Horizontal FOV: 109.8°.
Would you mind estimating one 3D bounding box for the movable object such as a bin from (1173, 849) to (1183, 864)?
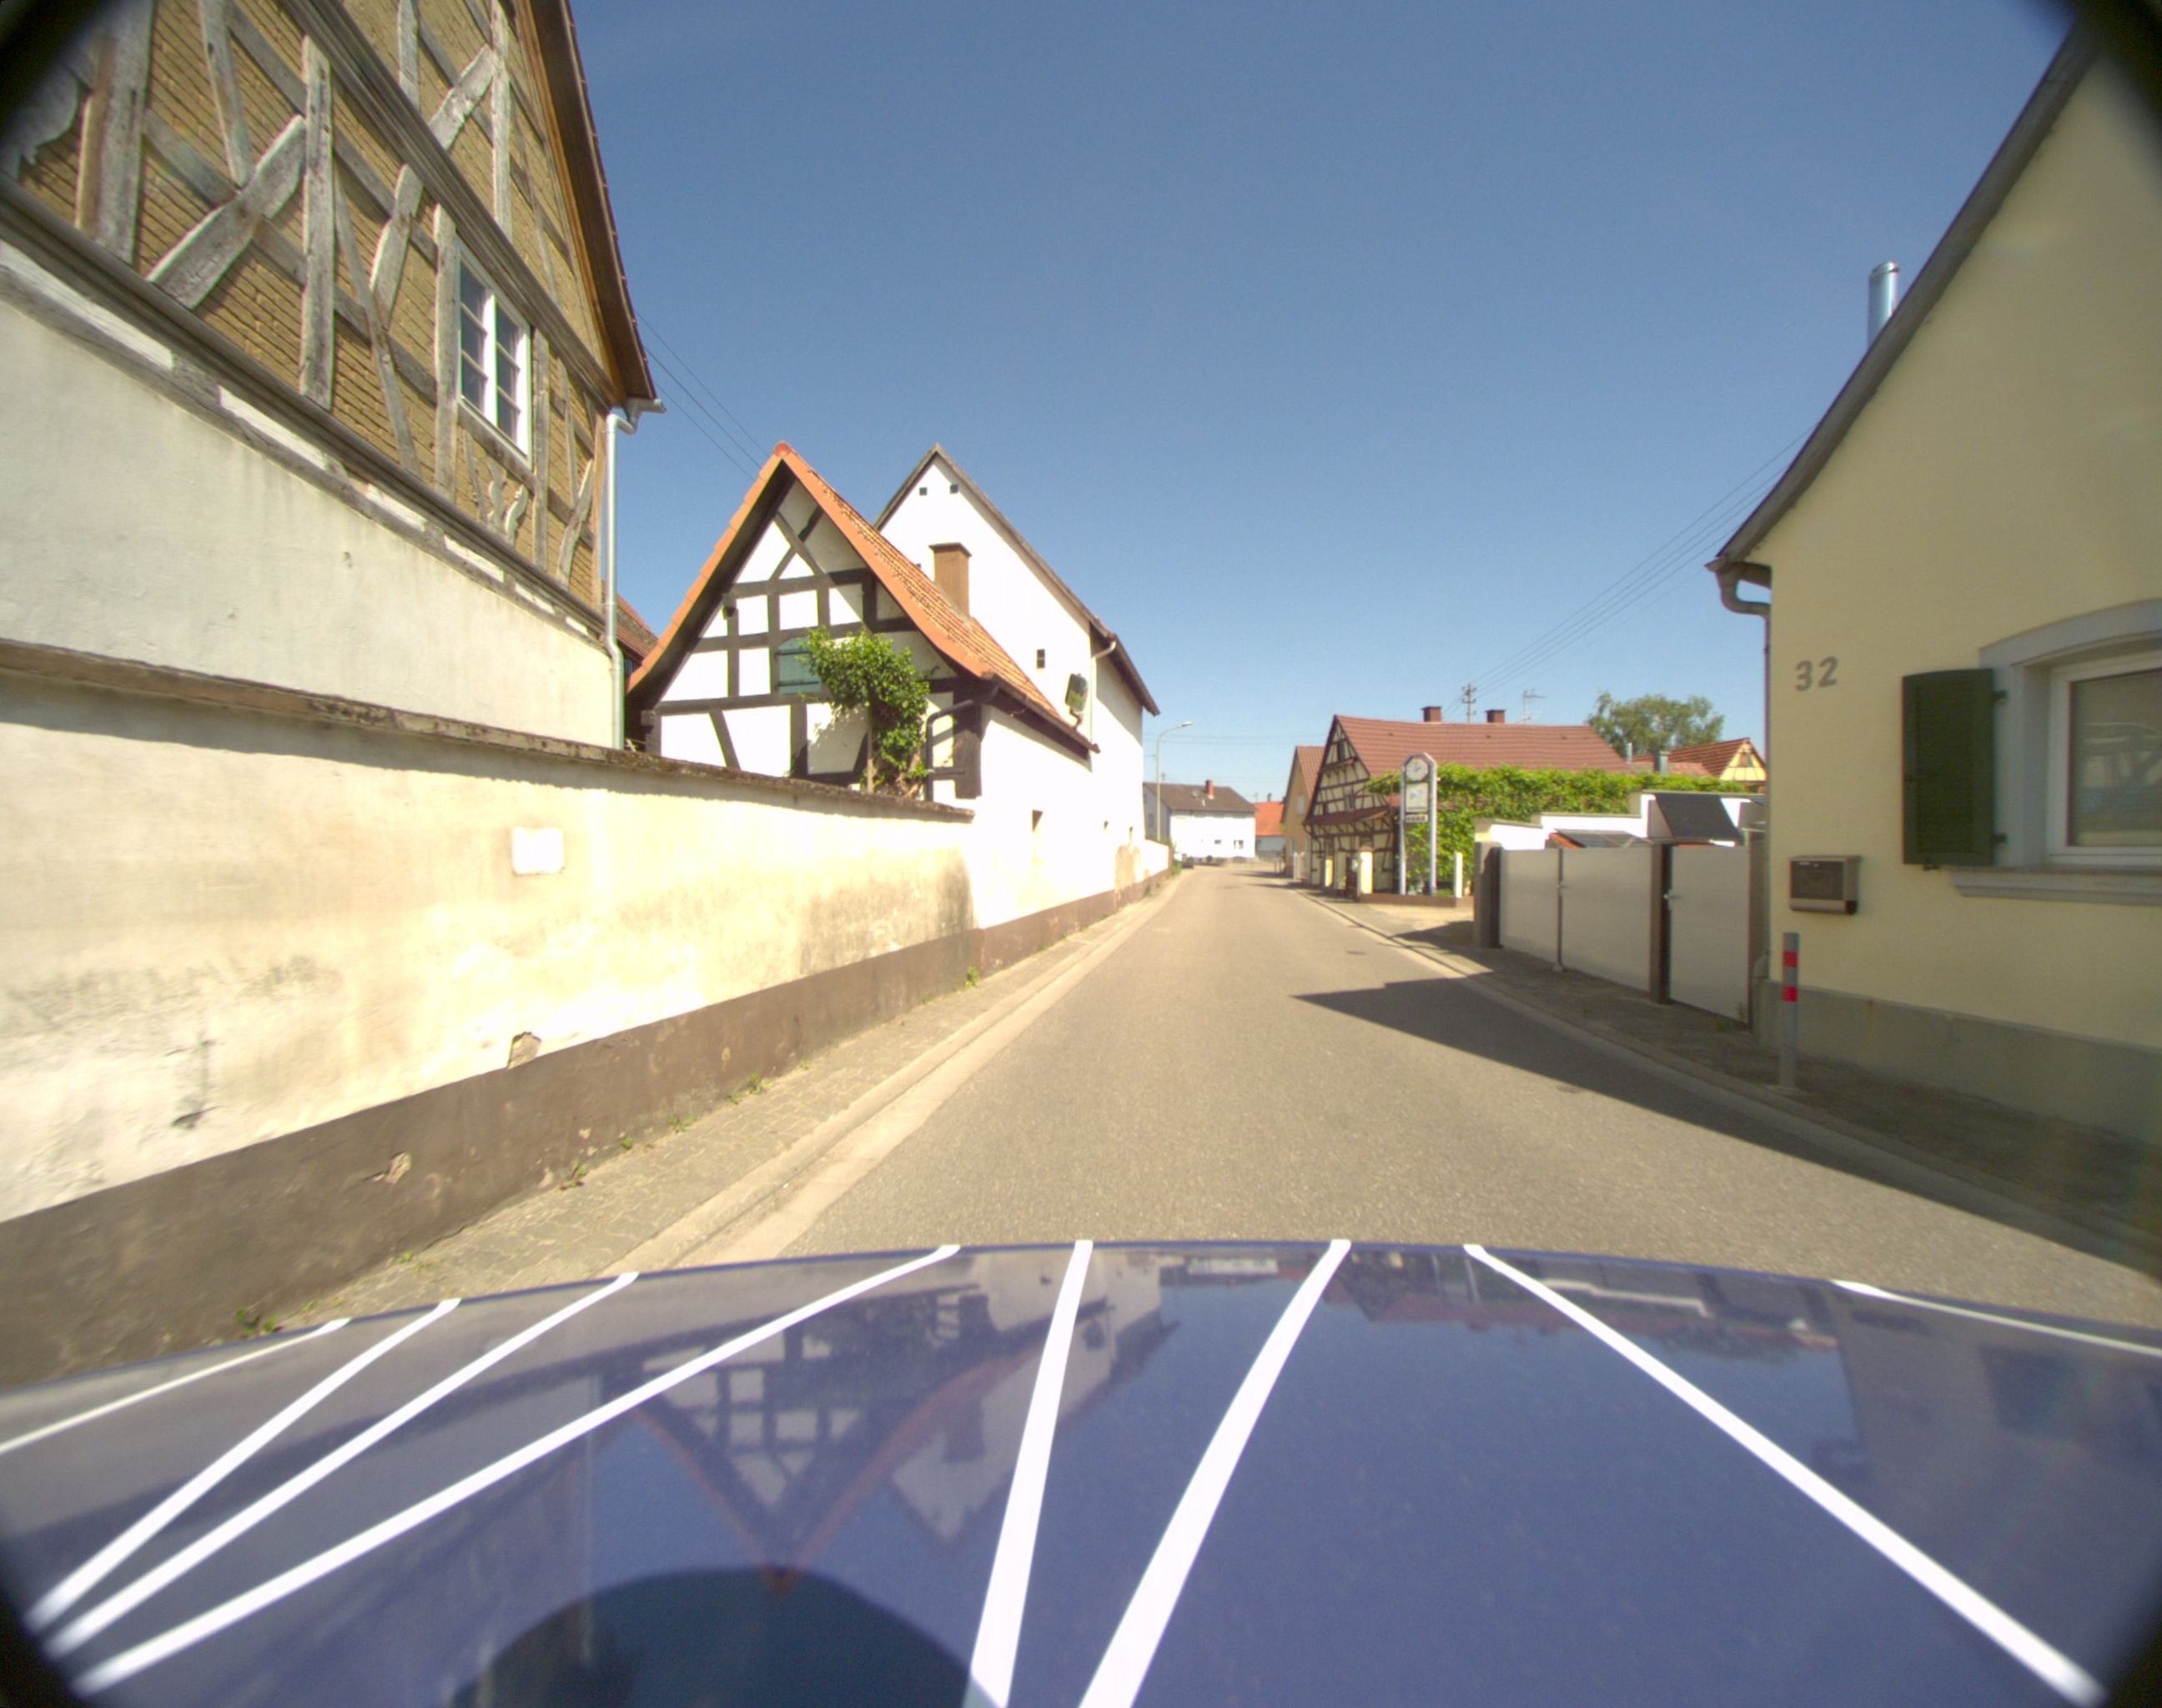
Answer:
[{"bbox_3d":[6.609,0.154,51.590,0.552,0.971,0.432,0,1,-15],"label":"movable object such as a bin"}]

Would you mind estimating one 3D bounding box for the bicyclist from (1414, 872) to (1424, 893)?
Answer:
[{"bbox_3d":[9.745,0.822,21.912,0.246,0.579,0.219,0,2,25],"label":"bicyclist"}]

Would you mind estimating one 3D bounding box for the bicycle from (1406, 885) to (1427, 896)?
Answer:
[{"bbox_3d":[9.683,1.051,21.944,0.534,0.303,0.220,0,2,26],"label":"bicycle"}]
